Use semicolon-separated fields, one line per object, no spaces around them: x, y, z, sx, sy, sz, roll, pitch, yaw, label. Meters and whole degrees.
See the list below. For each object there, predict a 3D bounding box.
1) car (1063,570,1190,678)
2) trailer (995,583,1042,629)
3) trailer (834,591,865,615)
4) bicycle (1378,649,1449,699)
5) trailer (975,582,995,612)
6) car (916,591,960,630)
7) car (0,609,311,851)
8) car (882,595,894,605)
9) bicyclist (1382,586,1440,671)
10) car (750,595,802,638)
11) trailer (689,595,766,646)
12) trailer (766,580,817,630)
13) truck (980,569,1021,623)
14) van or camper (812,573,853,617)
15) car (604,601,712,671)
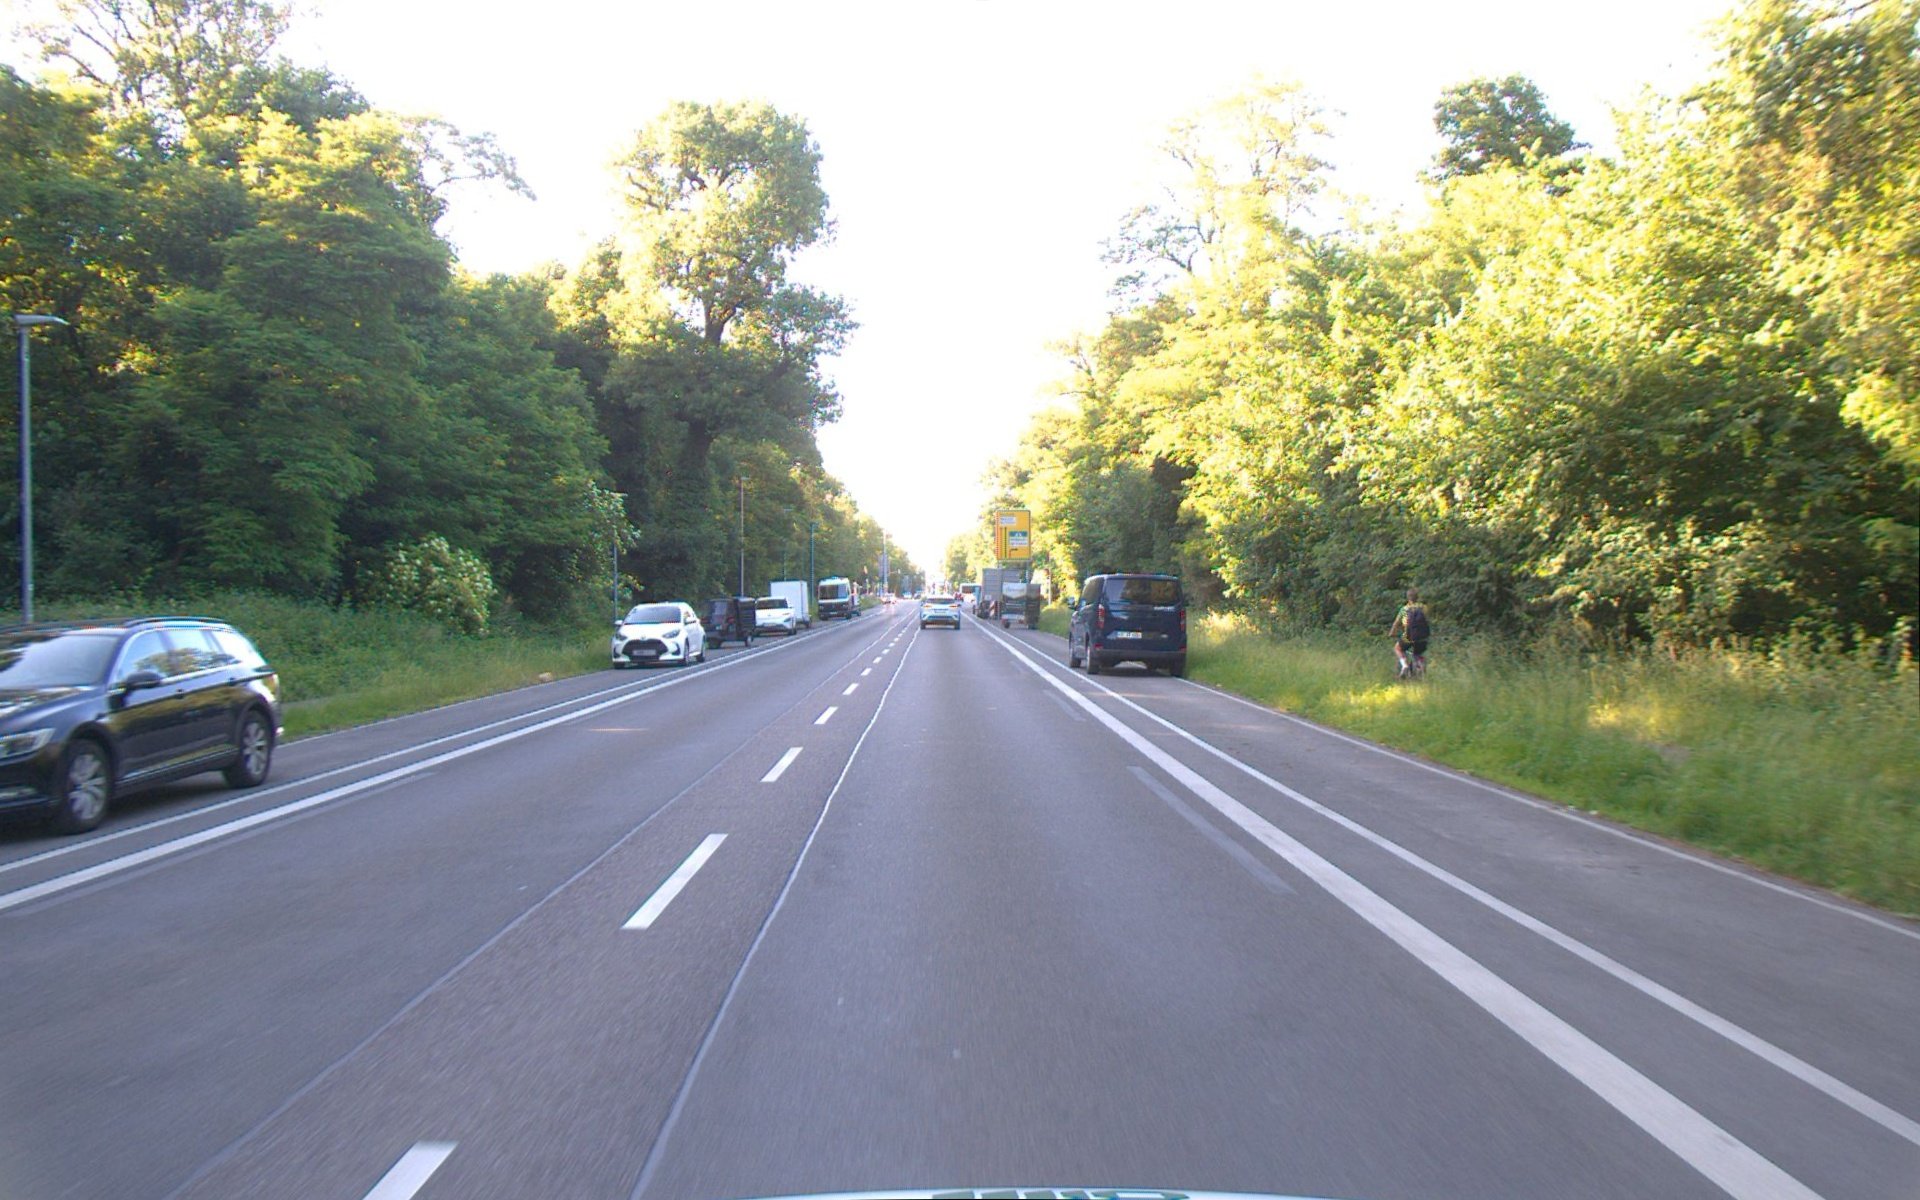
3.411;0.462;34.882;2.070;2.049;5.039;2;0;-1;car
2.812;0.275;79.020;1.580;2.149;2.397;0;0;20;trailer
-8.312;0.233;125.073;1.439;1.688;3.368;-2;-1;12;trailer
7.315;1.182;26.731;0.579;0.704;1.996;0;0;-1;bicycle
2.002;-0.238;132.495;1.469;2.274;4.549;1;0;0;trailer
-1.002;0.458;74.991;1.953;1.668;3.999;0;0;-1;car
-6.857;0.838;12.829;1.817;1.490;4.783;0;0;-1;car
-10.299;0.014;236.785;1.644;1.440;4.000;-1;0;0;car
7.290;0.446;26.760;0.598;1.348;1.175;0;0;-1;bicyclist
-7.459;0.637;67.438;1.778;1.599;4.204;-2;0;-3;car
-7.376;0.630;52.744;1.366;1.601;2.675;0;0;19;trailer
-8.218;0.228;80.996;2.032;2.333;3.487;-1;0;1;trailer
2.604;-0.264;108.945;2.454;3.425;7.106;1;0;0;truck
-8.558;-0.338;111.519;2.255;2.816;5.556;-3;0;-1;van or camper
-7.216;0.826;39.846;1.829;1.476;4.070;-3;0;-1;car
